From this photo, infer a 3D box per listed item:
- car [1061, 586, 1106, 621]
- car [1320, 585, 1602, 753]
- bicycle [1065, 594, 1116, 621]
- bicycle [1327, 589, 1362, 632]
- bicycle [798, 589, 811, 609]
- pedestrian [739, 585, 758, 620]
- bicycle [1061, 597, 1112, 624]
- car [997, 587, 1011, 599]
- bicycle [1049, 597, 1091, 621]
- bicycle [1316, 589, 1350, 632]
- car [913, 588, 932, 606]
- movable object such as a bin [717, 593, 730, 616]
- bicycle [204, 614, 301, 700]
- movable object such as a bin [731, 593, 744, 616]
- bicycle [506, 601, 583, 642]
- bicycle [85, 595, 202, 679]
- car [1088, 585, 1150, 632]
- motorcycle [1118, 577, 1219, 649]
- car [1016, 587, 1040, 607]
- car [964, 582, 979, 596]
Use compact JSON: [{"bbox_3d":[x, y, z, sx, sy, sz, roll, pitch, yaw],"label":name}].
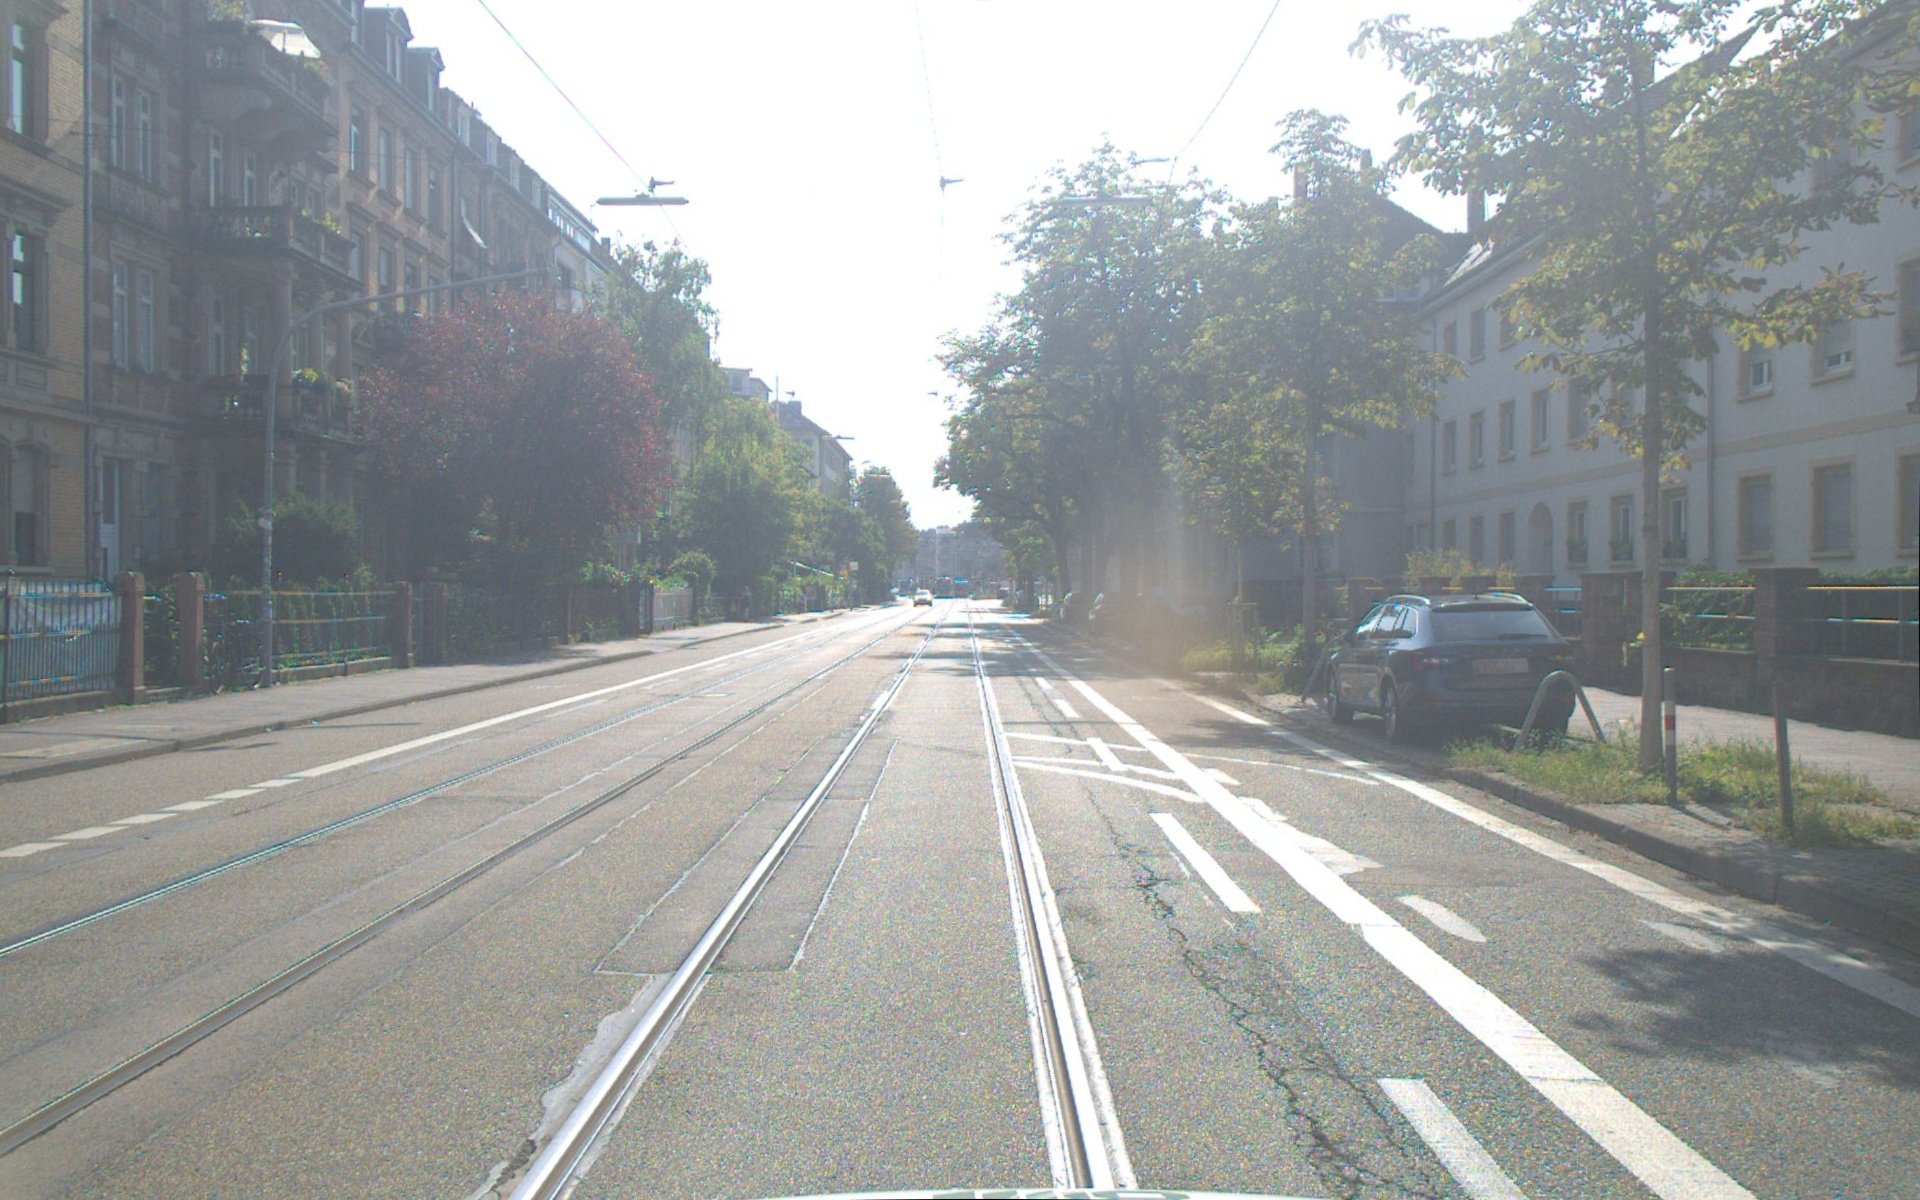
[{"bbox_3d":[5.465,0.183,73.544,1.735,1.499,3.974,-1,0,0],"label":"car"},{"bbox_3d":[5.291,0.647,18.151,1.708,1.588,4.719,-1,0,1],"label":"car"},{"bbox_3d":[5.456,0.298,69.356,2.066,1.124,0.562,0,0,-7],"label":"bicycle"},{"bbox_3d":[10.420,0.275,44.904,0.416,1.123,1.999,0,1,-2],"label":"bicycle"},{"bbox_3d":[-9.832,-0.092,104.610,0.549,1.242,2.114,0,0,2],"label":"bicycle"},{"bbox_3d":[-9.689,0.116,75.692,0.737,1.619,0.878,0,0,1],"label":"pedestrian"},{"bbox_3d":[5.347,0.436,69.874,2.066,1.124,0.562,0,0,-7],"label":"bicycle"},{"bbox_3d":[6.792,-1.059,256.565,1.952,1.814,4.002,2,0,4],"label":"car"},{"bbox_3d":[5.602,0.447,84.024,2.064,1.124,0.616,-1,0,-1],"label":"bicycle"},{"bbox_3d":[10.123,0.284,44.929,0.414,1.123,1.999,0,1,-2],"label":"bicycle"},{"bbox_3d":[-3.537,-0.263,157.472,1.691,1.666,3.984,0,0,0],"label":"car"},{"bbox_3d":[-11.141,0.204,77.872,0.578,1.097,0.704,0,0,-6],"label":"movable object such as a bin"},{"bbox_3d":[-9.966,0.781,23.360,0.498,1.127,2.003,0,0,0],"label":"bicycle"},{"bbox_3d":[-10.485,0.223,77.945,0.619,1.097,0.704,0,0,-6],"label":"movable object such as a bin"},{"bbox_3d":[-11.435,0.584,45.531,1.975,1.123,0.588,0,0,-3],"label":"bicycle"},{"bbox_3d":[-11.019,0.492,22.327,1.330,1.078,0.417,2,0,-3],"label":"bicycle"},{"bbox_3d":[5.402,0.276,56.518,1.691,1.531,3.984,-1,0,0],"label":"car"},{"bbox_3d":[5.107,0.330,40.688,2.379,1.703,0.907,-1,1,45],"label":"motorcycle"},{"bbox_3d":[5.341,-0.209,130.894,1.735,1.499,3.974,-1,0,0],"label":"car"},{"bbox_3d":[1.746,-1.604,249.872,1.952,2.049,4.002,2,0,3],"label":"car"}]
